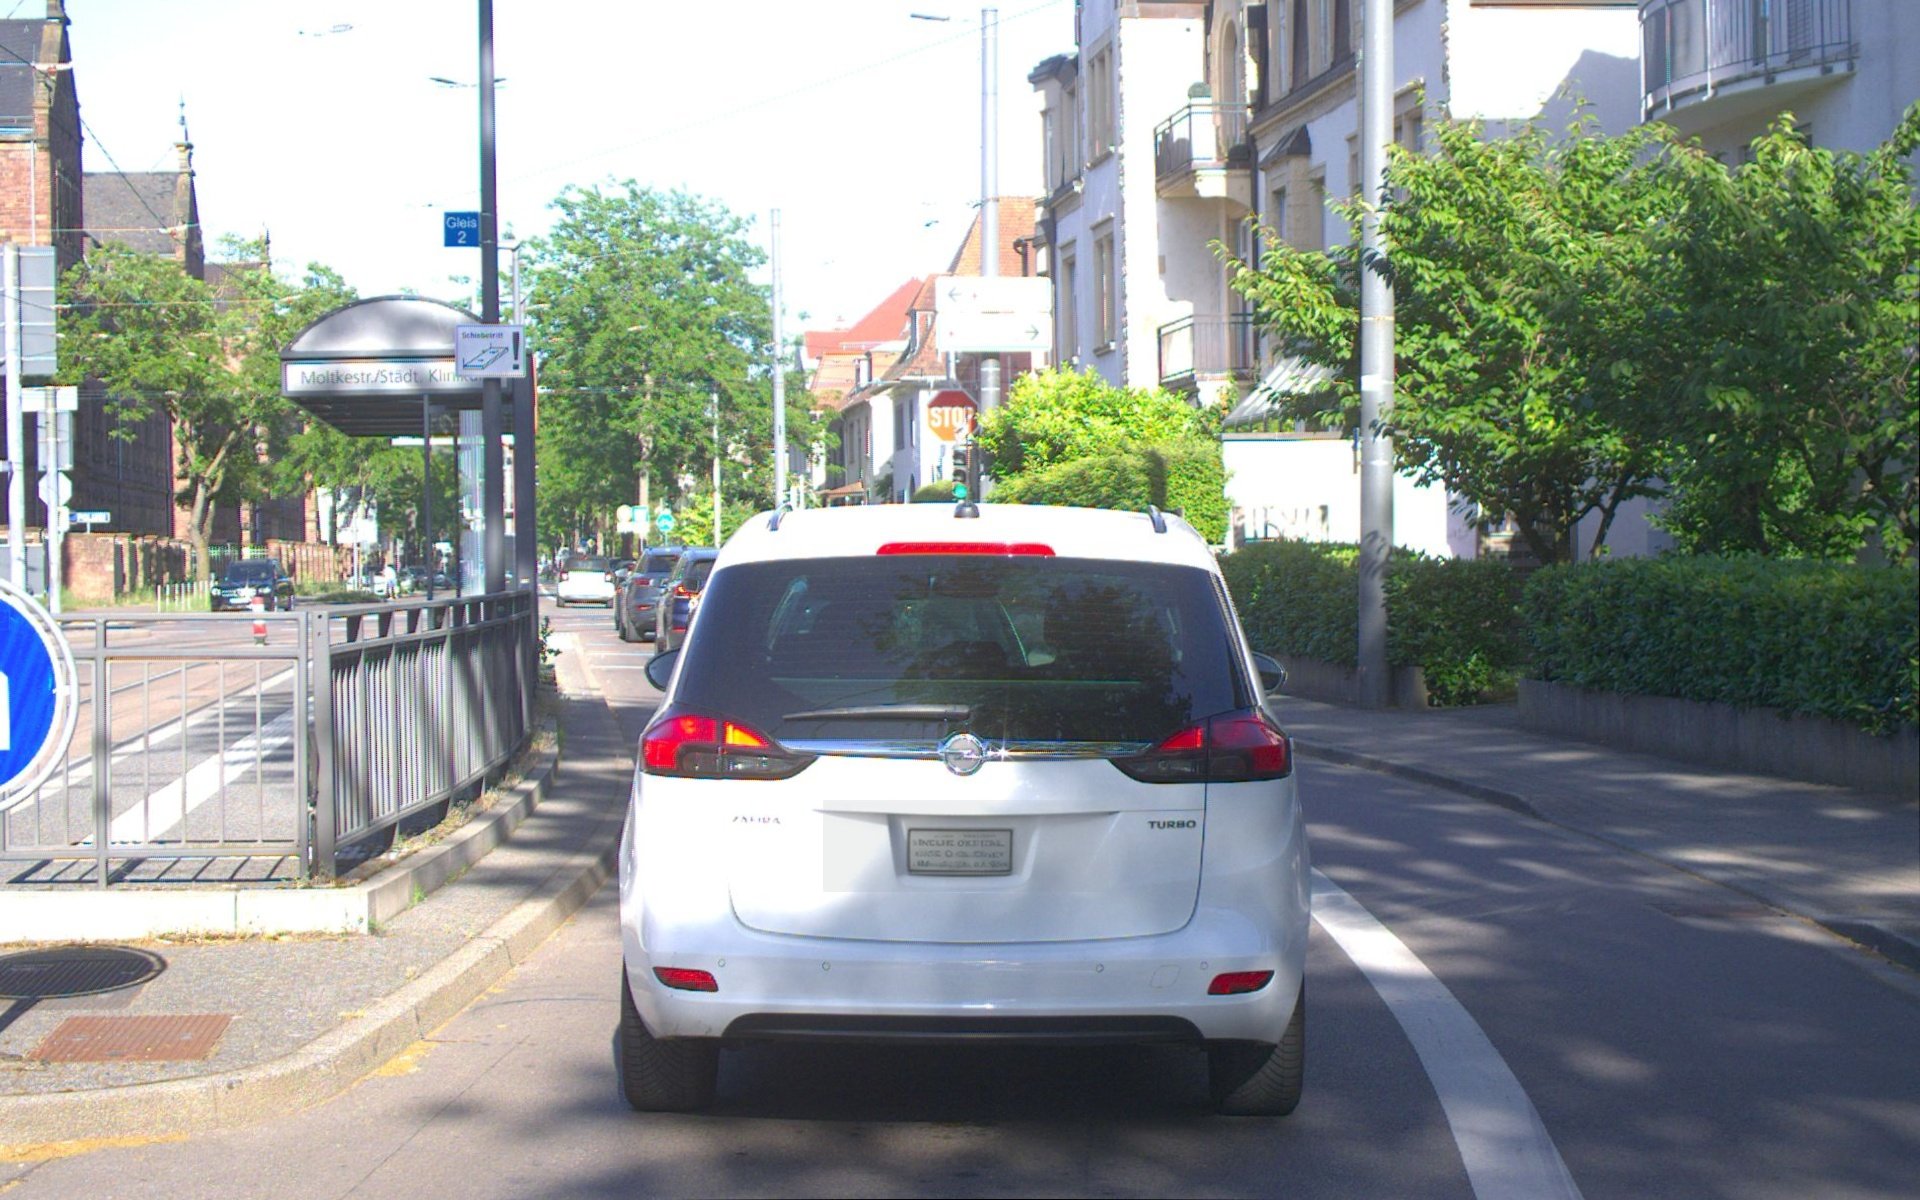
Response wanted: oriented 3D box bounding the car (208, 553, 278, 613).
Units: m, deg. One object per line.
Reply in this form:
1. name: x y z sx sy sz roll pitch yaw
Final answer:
1. car: -20.786 -0.516 99.803 1.906 1.671 4.359 -1 1 -11

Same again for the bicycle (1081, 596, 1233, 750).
1. bicycle: 1.531 0.551 27.105 0.829 1.150 2.095 0 0 -7

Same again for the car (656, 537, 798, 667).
1. car: -3.029 0.008 45.152 1.776 1.626 3.881 0 0 -3

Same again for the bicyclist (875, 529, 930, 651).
1. bicyclist: -0.786 -0.137 46.551 0.685 1.629 1.016 0 0 -4

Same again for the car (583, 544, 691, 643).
1. car: -5.481 -0.122 58.679 1.775 1.626 3.881 0 0 -4

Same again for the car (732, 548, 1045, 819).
1. car: -0.511 0.416 20.408 1.586 1.415 3.901 -1 1 -5

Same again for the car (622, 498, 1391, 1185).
1. car: -0.067 0.560 10.250 1.834 1.636 3.919 0 0 -6

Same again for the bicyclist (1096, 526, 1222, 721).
1. bicyclist: 1.553 0.174 26.937 0.821 1.496 0.934 0 0 -7

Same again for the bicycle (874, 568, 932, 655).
1. bicycle: -0.782 0.153 46.464 0.685 1.153 1.620 0 0 -4

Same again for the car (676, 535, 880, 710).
1. car: -1.858 0.192 34.063 1.775 1.626 3.881 0 0 -7

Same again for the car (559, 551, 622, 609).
1. car: -10.973 -0.611 102.340 1.775 1.687 3.881 0 0 -5
